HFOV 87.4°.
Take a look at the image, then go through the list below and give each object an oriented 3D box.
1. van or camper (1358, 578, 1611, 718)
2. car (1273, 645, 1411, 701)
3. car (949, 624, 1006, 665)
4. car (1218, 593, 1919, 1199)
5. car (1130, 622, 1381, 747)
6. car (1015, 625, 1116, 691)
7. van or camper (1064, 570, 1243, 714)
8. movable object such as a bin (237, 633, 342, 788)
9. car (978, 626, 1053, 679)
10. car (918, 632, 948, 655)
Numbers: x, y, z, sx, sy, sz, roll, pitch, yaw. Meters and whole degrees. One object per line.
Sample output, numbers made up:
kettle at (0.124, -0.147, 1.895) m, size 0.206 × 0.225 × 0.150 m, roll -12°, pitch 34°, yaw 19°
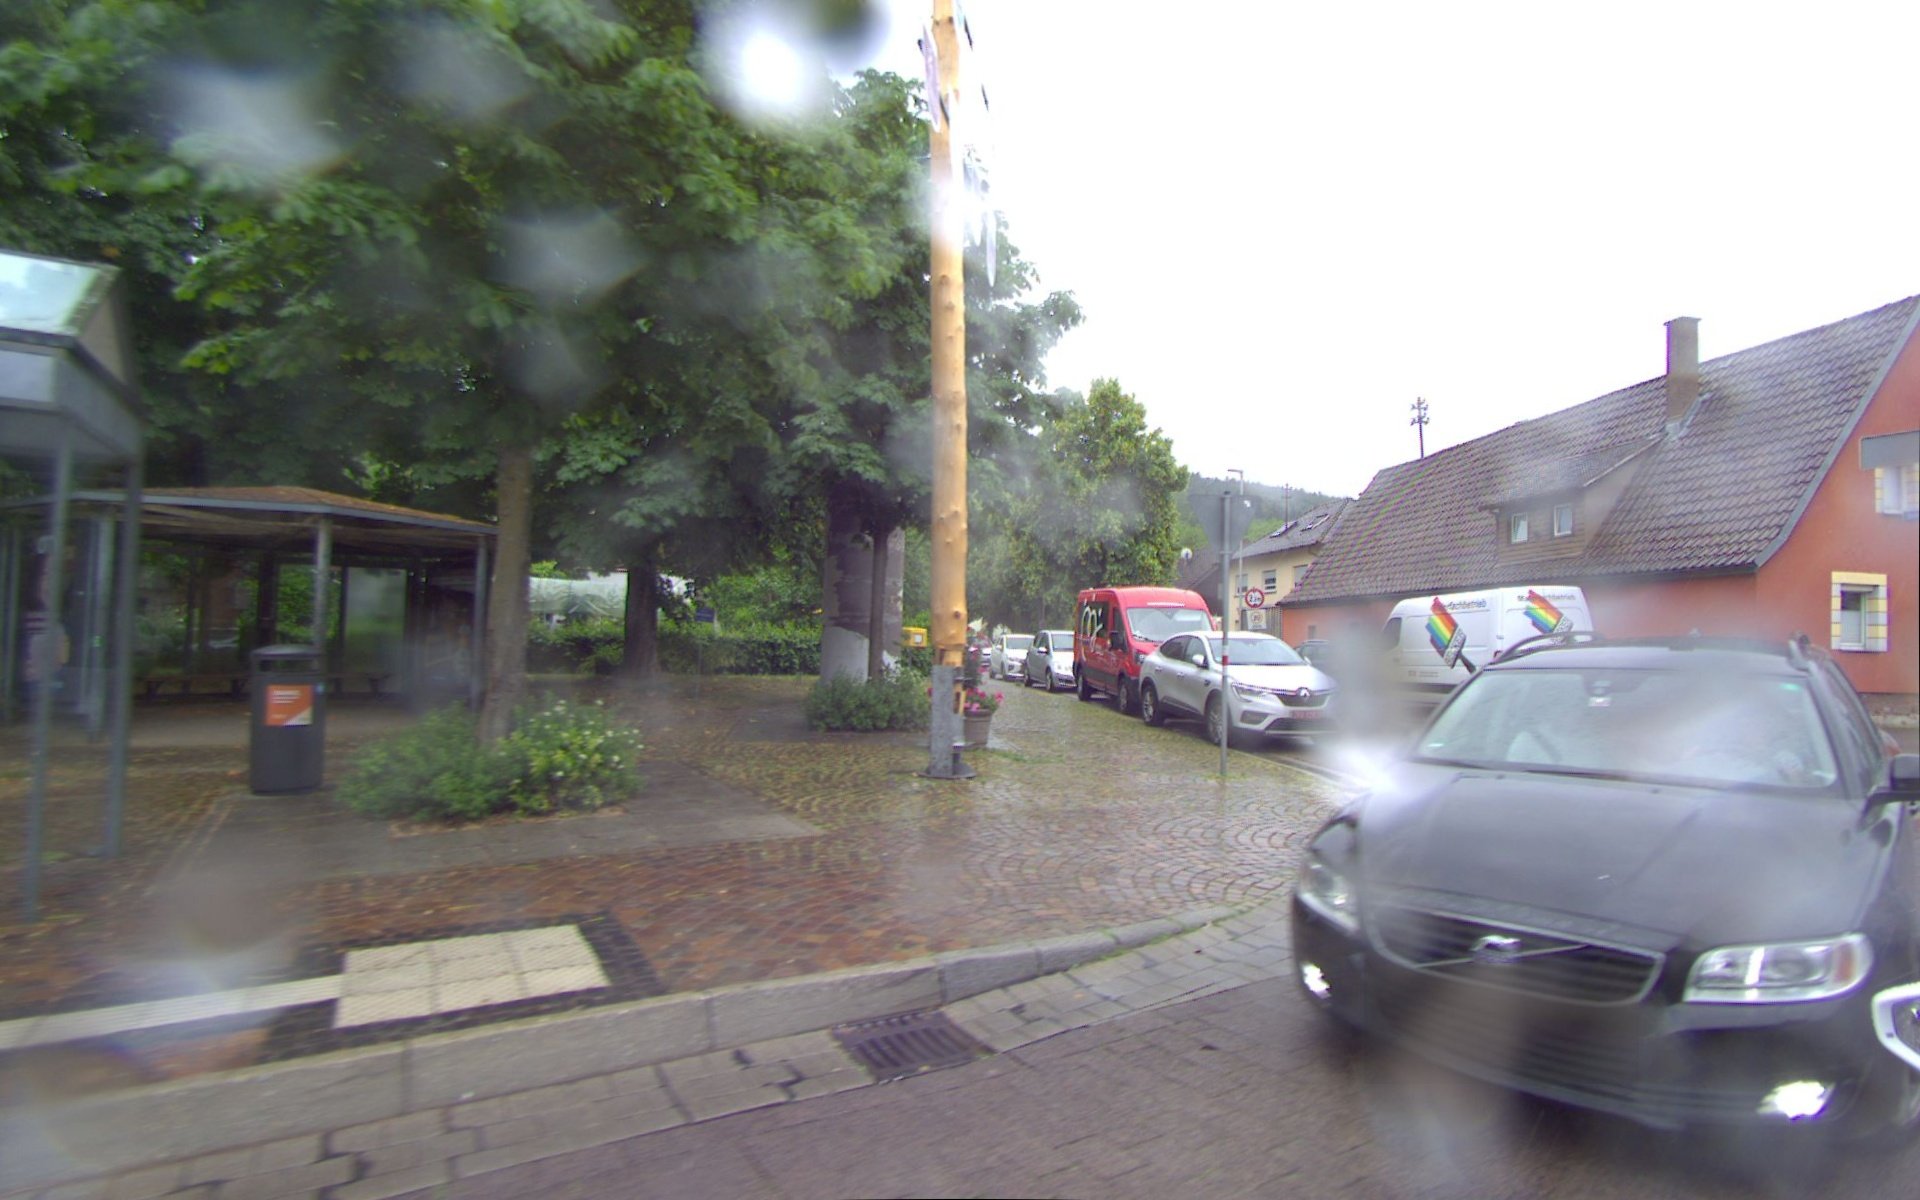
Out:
van or camper at (10.322, 0.943, 20.381) m, size 2.169 × 2.467 × 5.157 m, roll 0°, pitch -2°, yaw -4°
car at (9.690, 1.815, 25.843) m, size 1.802 × 1.297 × 4.002 m, roll 0°, pitch -2°, yaw -4°
car at (0.739, 1.950, 44.728) m, size 1.781 × 1.622 × 3.755 m, roll 3°, pitch -2°, yaw -10°
car at (3.017, 0.827, 4.416) m, size 1.824 × 1.496 × 4.289 m, roll -2°, pitch -3°, yaw 43°
car at (4.148, 1.130, 14.949) m, size 1.848 × 1.570 × 4.454 m, roll 1°, pitch -1°, yaw -9°
car at (2.742, 1.509, 26.907) m, size 1.768 × 1.570 × 3.807 m, roll 3°, pitch -2°, yaw -8°
van or camper at (3.807, 0.833, 21.028) m, size 2.114 × 2.506 × 5.875 m, roll 2°, pitch -2°, yaw -4°
movable object such as a bin at (-5.271, 0.853, 7.930) m, size 0.598 × 1.161 × 0.559 m, roll 4°, pitch -3°, yaw -32°
car at (1.745, 1.684, 32.708) m, size 1.767 × 1.570 × 3.809 m, roll 2°, pitch -2°, yaw -6°
car at (-2.228, 3.553, 81.766) m, size 1.944 × 1.638 × 4.437 m, roll 1°, pitch 0°, yaw -8°
